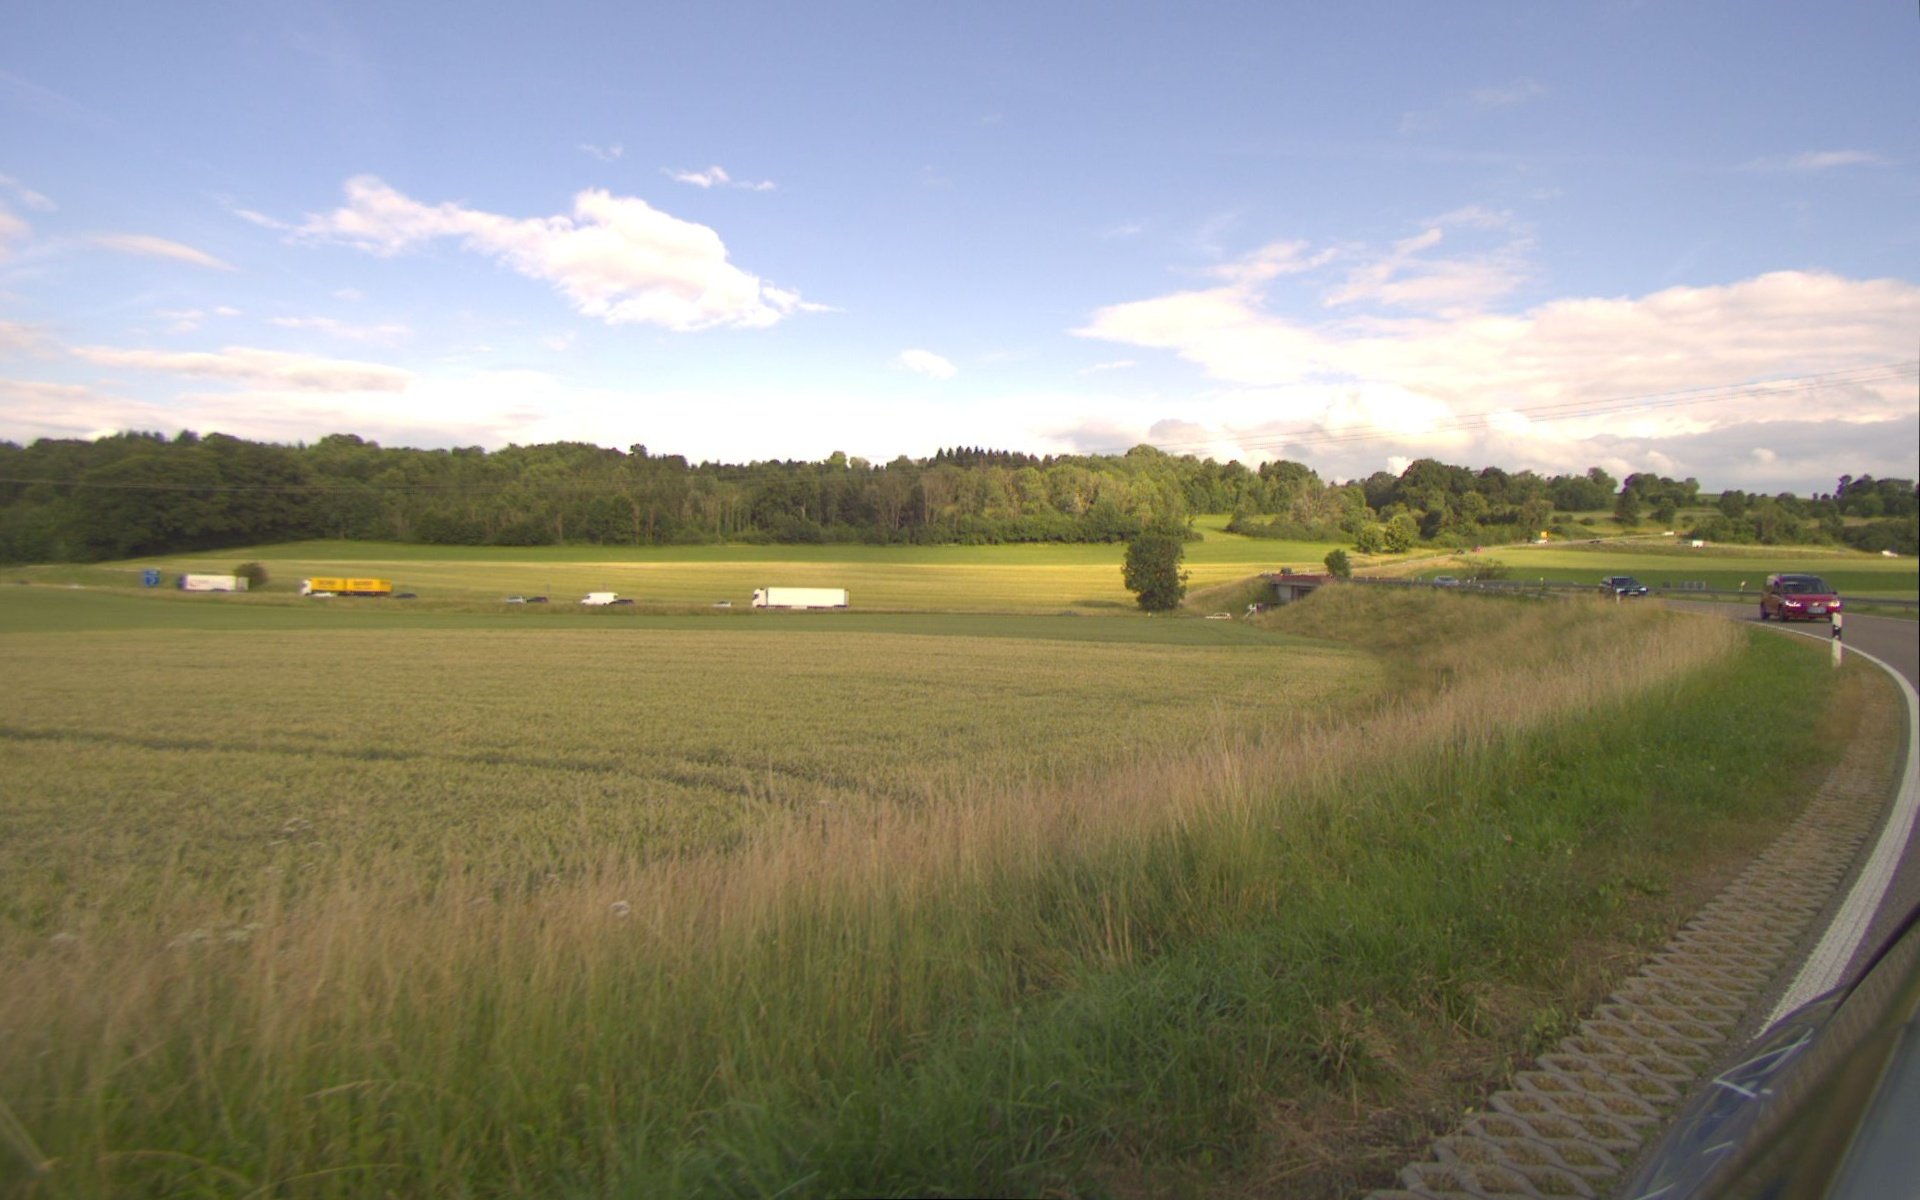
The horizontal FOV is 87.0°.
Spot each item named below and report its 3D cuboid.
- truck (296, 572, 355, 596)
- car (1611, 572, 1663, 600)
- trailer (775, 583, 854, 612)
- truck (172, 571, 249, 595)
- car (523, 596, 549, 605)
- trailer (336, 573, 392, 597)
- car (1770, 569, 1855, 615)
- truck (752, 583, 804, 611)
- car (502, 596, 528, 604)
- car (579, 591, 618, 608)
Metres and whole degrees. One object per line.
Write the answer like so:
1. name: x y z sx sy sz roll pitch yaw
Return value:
1. truck: -120.034 -2.998 191.448 9.662 4.108 3.822 1 4 15
2. car: 43.044 -0.878 64.432 1.801 1.631 3.972 2 1 21
3. trailer: -24.127 -0.378 167.767 12.522 4.525 3.023 1 -1 10
4. truck: -147.887 -3.380 199.643 14.211 4.042 4.067 2 6 14
5. car: -72.304 0.086 172.617 3.933 1.538 1.679 0 1 8
6. trailer: -111.179 -2.828 188.916 8.999 4.108 3.822 1 4 16
7. car: 33.191 -0.322 39.498 1.807 1.676 3.957 -3 0 30
8. truck: -30.393 -0.500 168.906 7.926 4.525 3.020 1 -1 10
9. car: -79.007 0.061 179.718 3.937 1.282 1.754 1 -1 11
10. car: -62.888 -0.116 176.106 6.022 2.619 2.366 2 -2 9
